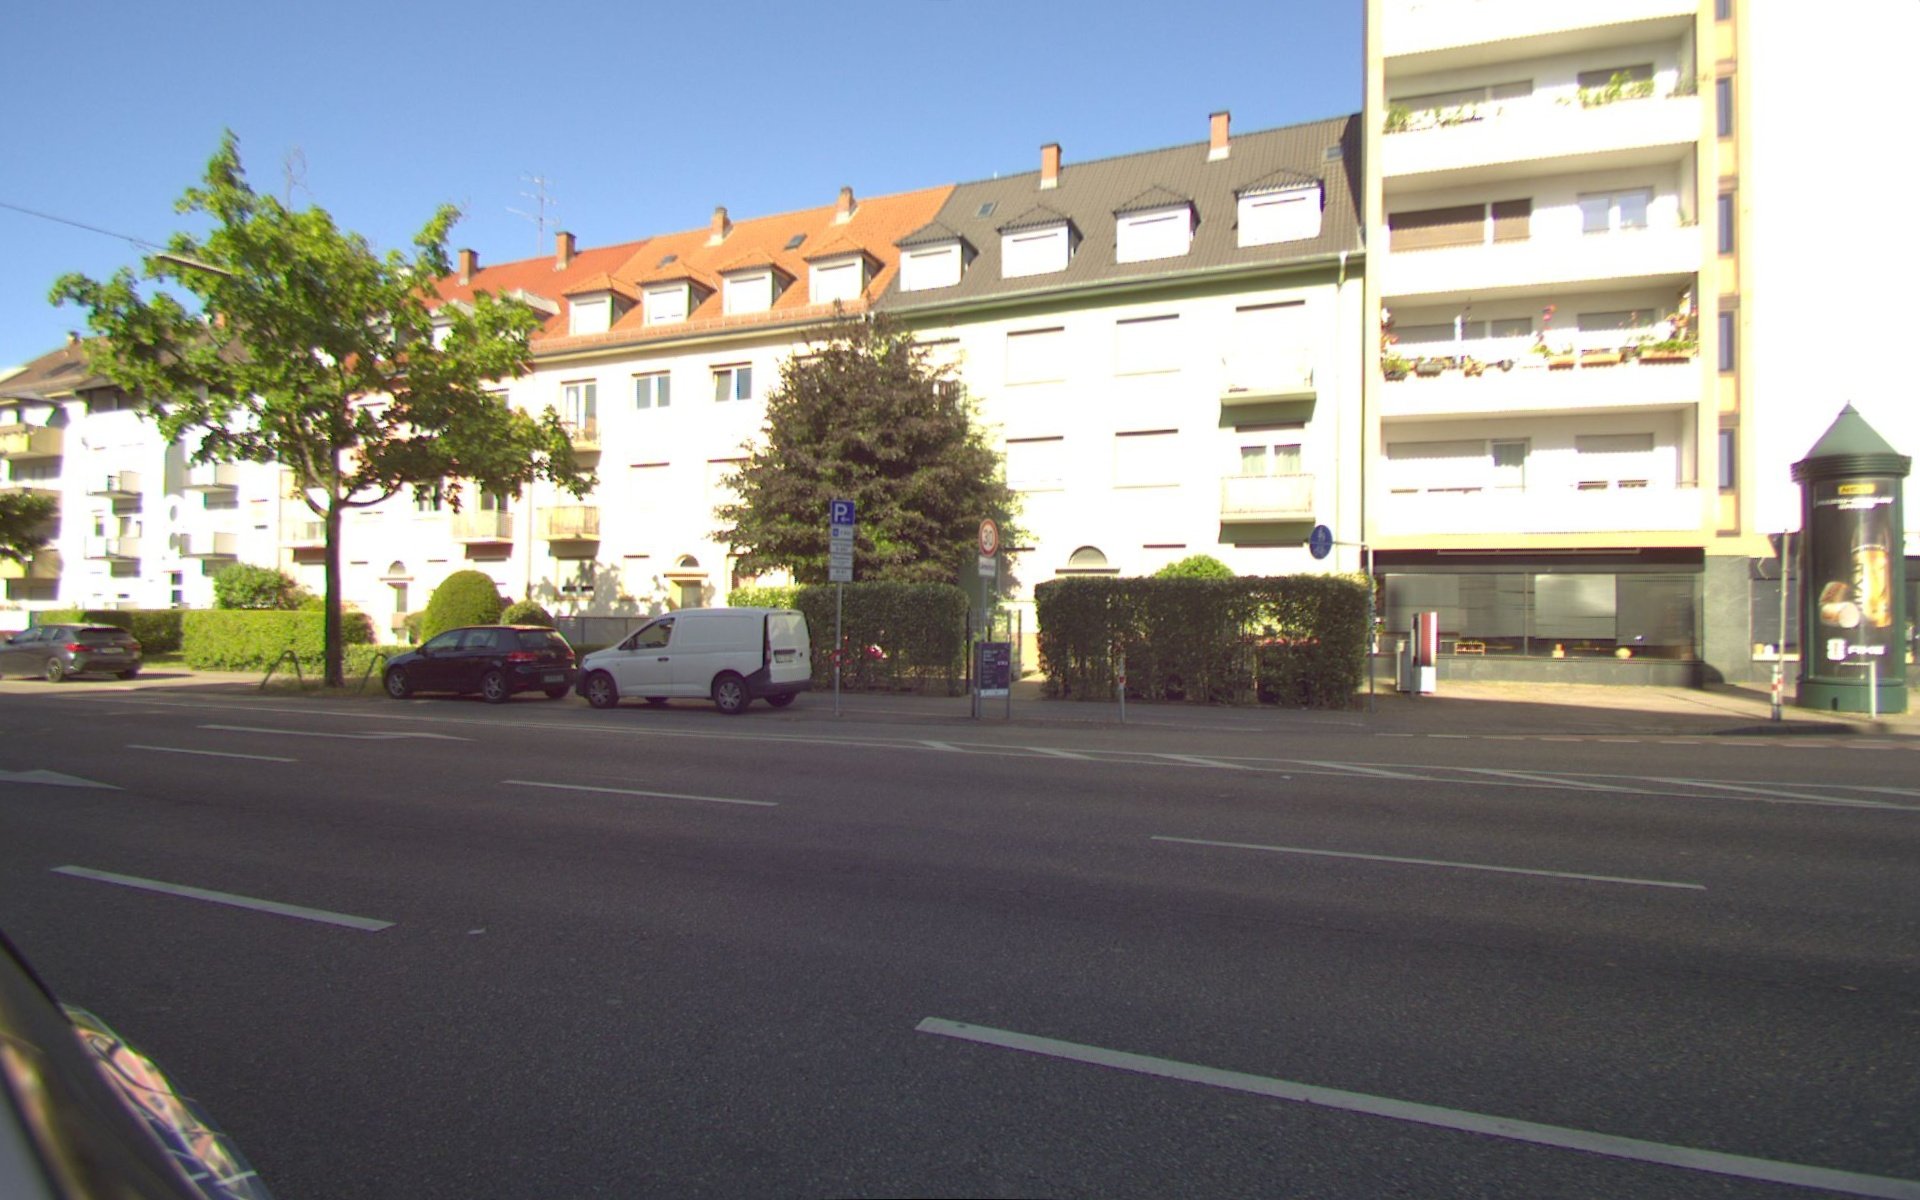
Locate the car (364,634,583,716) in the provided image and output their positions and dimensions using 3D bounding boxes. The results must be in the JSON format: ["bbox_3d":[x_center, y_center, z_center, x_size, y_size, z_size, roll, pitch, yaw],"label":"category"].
[{"bbox_3d":[-9.652,1.413,20.055,4.085,1.468,1.663,-1,-2,24],"label":"car"}]

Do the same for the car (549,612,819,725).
[{"bbox_3d":[-4.985,1.164,18.280,4.529,1.848,1.812,0,-2,21],"label":"car"}]

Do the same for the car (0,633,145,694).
[{"bbox_3d":[-23.123,1.569,25.708,4.332,1.419,1.762,-1,-1,19],"label":"car"}]

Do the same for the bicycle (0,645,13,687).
[{"bbox_3d":[-26.385,1.765,26.992,0.544,1.143,1.537,-1,-3,21],"label":"bicycle"}]
